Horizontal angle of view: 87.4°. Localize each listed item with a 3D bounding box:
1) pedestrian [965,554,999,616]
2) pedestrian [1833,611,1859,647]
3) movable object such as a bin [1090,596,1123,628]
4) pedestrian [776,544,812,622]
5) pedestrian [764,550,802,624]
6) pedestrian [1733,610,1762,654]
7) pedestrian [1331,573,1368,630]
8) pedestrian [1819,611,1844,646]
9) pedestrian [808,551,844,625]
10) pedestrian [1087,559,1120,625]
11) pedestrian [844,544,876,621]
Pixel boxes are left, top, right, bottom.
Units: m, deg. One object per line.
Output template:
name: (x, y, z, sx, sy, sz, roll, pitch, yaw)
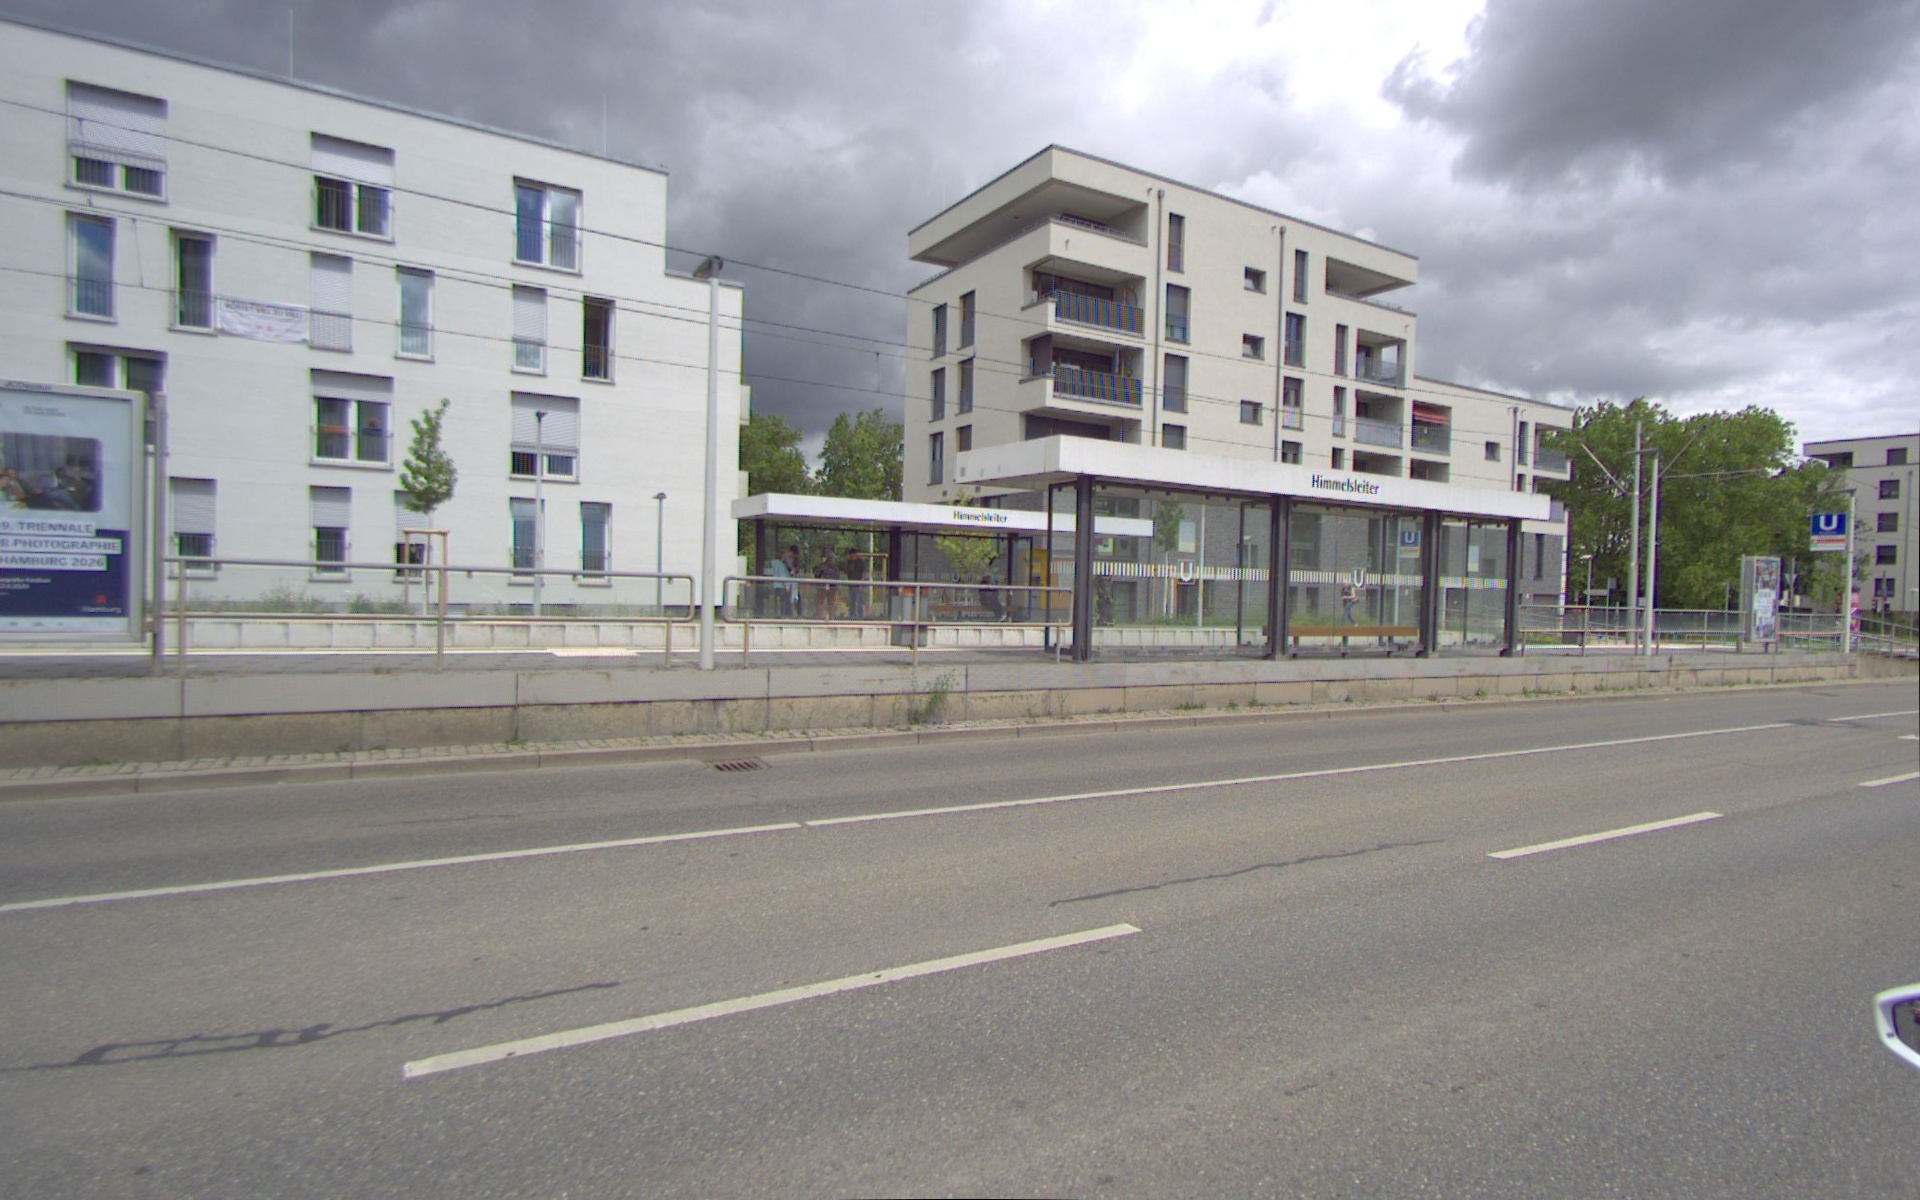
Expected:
pedestrian: (0.578, -0.392, 26.070, 0.669, 1.575, 0.559, 1, 1, -29)
pedestrian: (54.461, 1.771, 61.731, 0.924, 2.162, 0.910, 1, 1, -31)
movable object such as a bin: (3.962, 0.328, 27.240, 0.669, 0.861, 0.559, 1, 1, -29)
pedestrian: (-3.773, -0.384, 22.898, 0.479, 1.748, 0.677, 2, 1, 25)
pedestrian: (-3.904, -0.288, 22.207, 0.664, 1.618, 0.489, 2, 1, 12)
pedestrian: (41.051, 1.673, 52.375, 0.872, 2.234, 0.910, 1, 1, -31)
pedestrian: (12.496, 0.035, 32.224, 0.924, 1.789, 0.671, 1, 1, -33)
pedestrian: (54.611, 1.778, 62.927, 0.924, 2.162, 0.910, 1, 1, -31)
pedestrian: (-2.957, -0.263, 22.198, 0.664, 1.618, 0.489, 1, 1, 4)
pedestrian: (3.963, -0.227, 27.739, 0.669, 1.789, 0.559, 1, 1, -29)
pedestrian: (-2.379, -0.417, 23.944, 0.664, 1.789, 0.489, 1, 1, 4)
